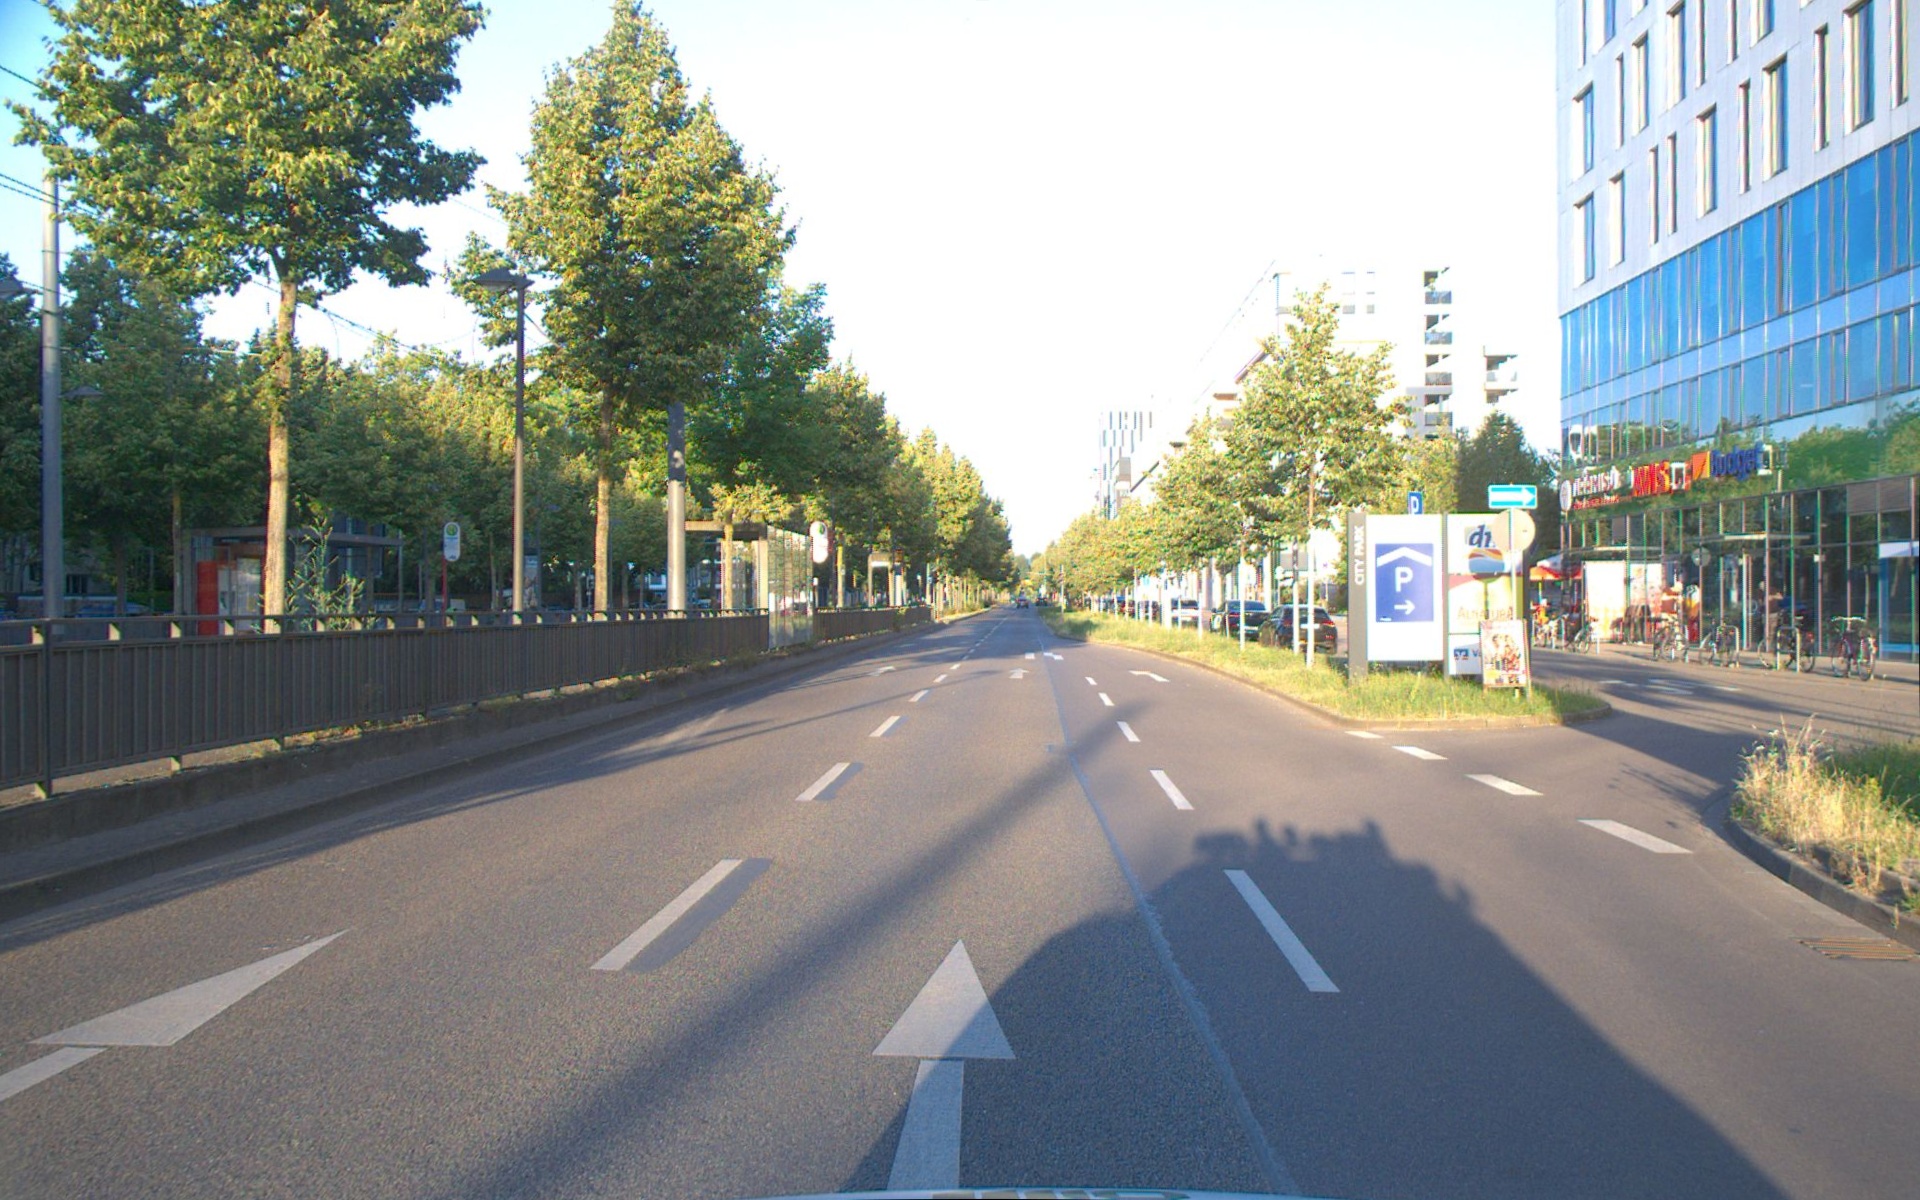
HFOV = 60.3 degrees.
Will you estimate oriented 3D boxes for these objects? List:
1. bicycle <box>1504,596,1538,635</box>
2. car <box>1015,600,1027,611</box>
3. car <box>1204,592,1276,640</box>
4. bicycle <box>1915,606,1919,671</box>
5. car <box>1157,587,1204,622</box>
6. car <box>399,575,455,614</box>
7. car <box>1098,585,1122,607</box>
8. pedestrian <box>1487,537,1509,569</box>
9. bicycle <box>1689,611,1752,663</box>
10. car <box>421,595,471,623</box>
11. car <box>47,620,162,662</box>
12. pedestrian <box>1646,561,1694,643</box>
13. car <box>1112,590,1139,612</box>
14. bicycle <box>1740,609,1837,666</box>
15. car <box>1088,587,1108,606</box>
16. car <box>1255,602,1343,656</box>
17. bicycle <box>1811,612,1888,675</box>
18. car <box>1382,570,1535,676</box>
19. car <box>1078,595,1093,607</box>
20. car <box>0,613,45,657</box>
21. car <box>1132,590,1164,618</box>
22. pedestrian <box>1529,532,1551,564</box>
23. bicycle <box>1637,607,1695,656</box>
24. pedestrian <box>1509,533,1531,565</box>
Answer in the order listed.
[{"bbox_3d":[17.280,0.463,50.977,0.481,1.175,1.636,0,0,0],"label":"bicycle"},{"bbox_3d":[9.017,0.772,243.353,1.660,1.624,4.000,-1,0,1],"label":"car"},{"bbox_3d":[10.759,0.591,63.758,1.953,1.726,4.593,2,0,0],"label":"car"},{"bbox_3d":[16.230,0.655,26.885,0.530,1.086,2.006,0,0,9],"label":"bicycle"},{"bbox_3d":[11.511,0.197,86.631,1.952,1.726,4.416,2,0,1],"label":"car"},{"bbox_3d":[-30.648,-0.325,95.184,1.738,2.223,4.002,0,0,3],"label":"car"},{"bbox_3d":[14.056,-0.388,155.322,1.952,2.049,4.001,0,0,1],"label":"car"},{"bbox_3d":[25.948,-2.263,79.751,0.796,1.481,1.111,-2,0,28],"label":"pedestrian"},{"bbox_3d":[16.563,0.786,36.076,0.621,1.086,2.124,0,0,7],"label":"bicycle"},{"bbox_3d":[-36.027,0.616,116.024,1.866,1.847,4.222,-2,0,4],"label":"car"},{"bbox_3d":[-33.356,1.580,64.629,1.951,1.490,4.247,-1,0,6],"label":"car"},{"bbox_3d":[18.804,0.060,43.847,0.795,2.126,1.113,-1,0,4],"label":"pedestrian"},{"bbox_3d":[13.340,0.076,133.294,1.855,1.802,3.947,0,0,1],"label":"car"},{"bbox_3d":[16.474,0.721,32.937,0.622,1.086,2.118,-1,0,-8],"label":"bicycle"},{"bbox_3d":[15.050,-0.352,180.737,1.952,2.049,4.001,0,0,1],"label":"car"},{"bbox_3d":[10.094,0.832,49.575,1.787,1.460,4.460,2,0,1],"label":"car"},{"bbox_3d":[16.163,0.767,30.097,0.621,1.086,2.124,0,0,11],"label":"bicycle"},{"bbox_3d":[9.583,0.413,32.161,1.812,1.859,4.396,2,0,3],"label":"car"},{"bbox_3d":[16.867,0.108,222.355,1.660,1.624,4.000,-1,0,1],"label":"car"},{"bbox_3d":[-33.682,1.227,56.685,1.951,1.490,4.247,-1,0,6],"label":"car"},{"bbox_3d":[12.417,0.244,109.580,1.986,1.726,4.400,2,0,5],"label":"car"},{"bbox_3d":[27.568,-2.464,78.604,0.796,1.481,1.111,-2,0,28],"label":"pedestrian"},{"bbox_3d":[16.486,0.716,38.675,0.621,1.086,2.123,0,0,5],"label":"bicycle"},{"bbox_3d":[26.850,-2.443,79.292,0.796,1.481,1.111,-2,0,28],"label":"pedestrian"}]
